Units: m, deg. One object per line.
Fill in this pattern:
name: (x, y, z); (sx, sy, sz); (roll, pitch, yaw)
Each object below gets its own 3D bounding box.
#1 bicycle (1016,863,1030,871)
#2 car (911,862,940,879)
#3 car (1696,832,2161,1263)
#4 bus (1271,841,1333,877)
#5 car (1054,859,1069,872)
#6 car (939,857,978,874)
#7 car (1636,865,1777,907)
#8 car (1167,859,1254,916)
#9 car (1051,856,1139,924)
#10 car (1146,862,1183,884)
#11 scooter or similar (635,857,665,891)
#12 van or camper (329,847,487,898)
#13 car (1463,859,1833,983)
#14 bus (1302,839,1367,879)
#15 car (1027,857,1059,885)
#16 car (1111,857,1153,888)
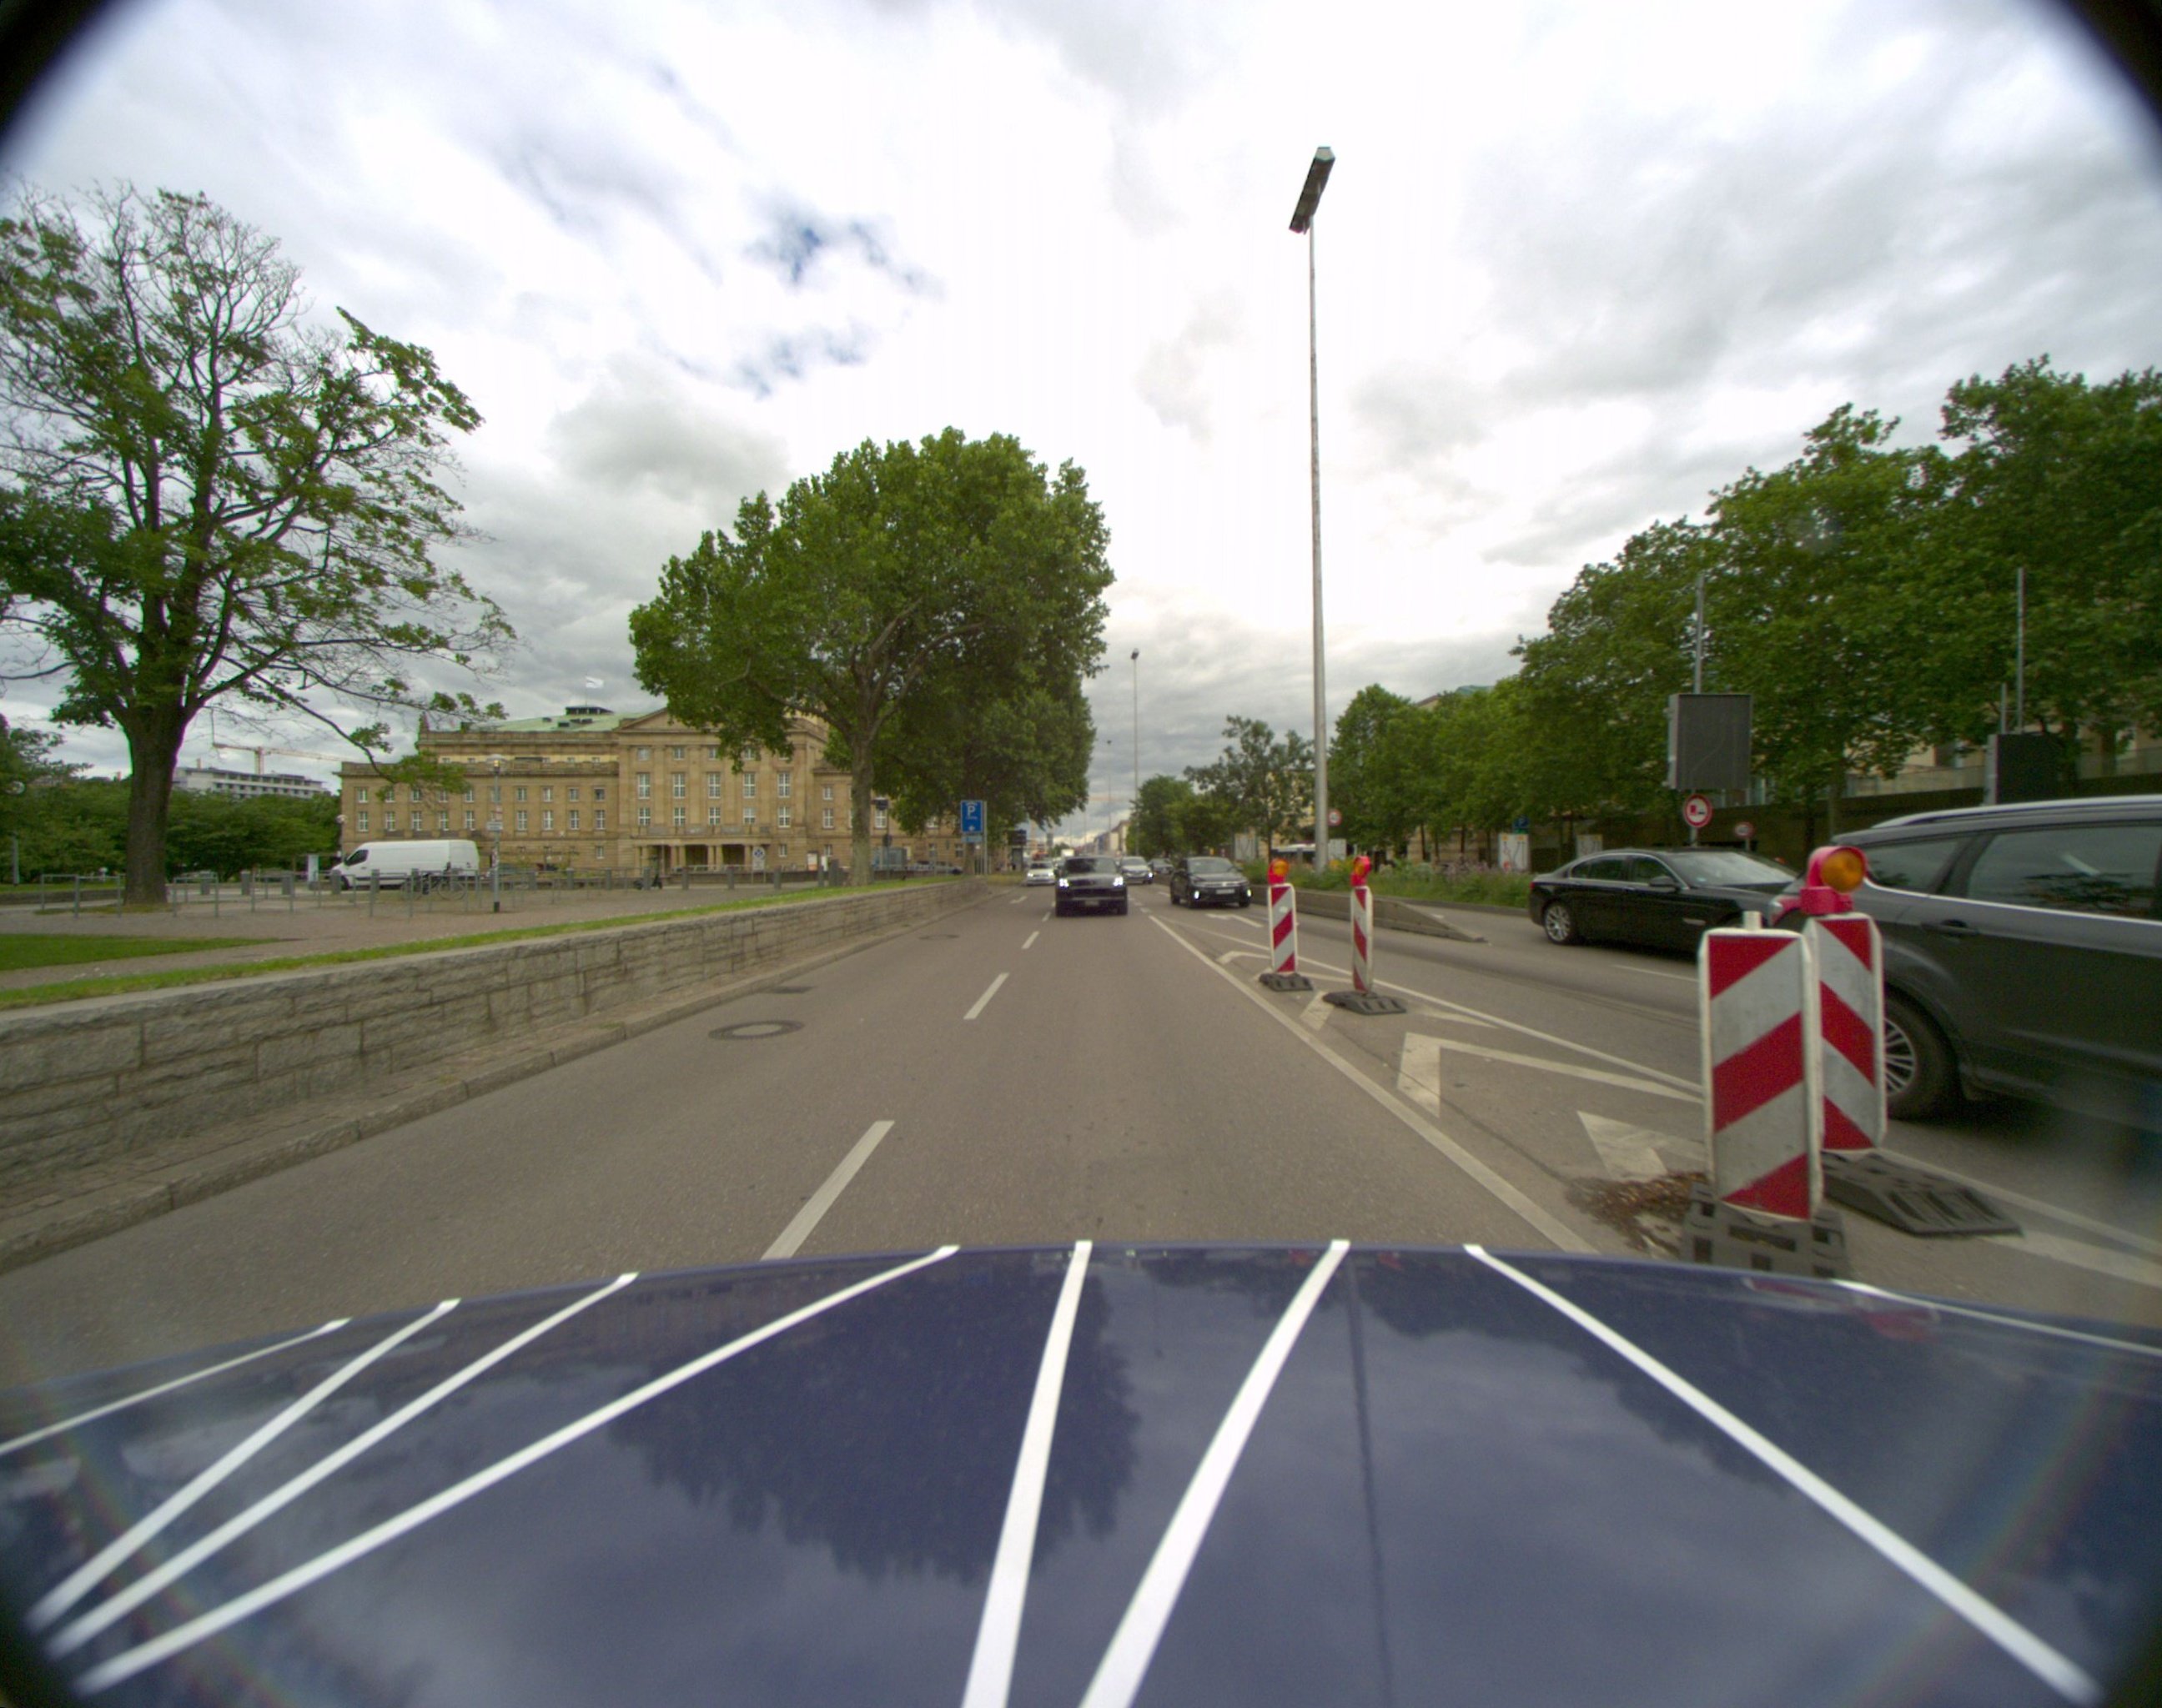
bicycle: (-7.817, 1.767, 103.079); (1.841, 1.066, 0.618); (-1, 0, -9)
car: (-14.420, 1.543, 70.699); (1.768, 1.508, 4.219); (-1, -2, 1)
car: (5.233, 0.740, 2.823); (1.899, 1.705, 4.657); (-2, -1, -3)
bus: (22.051, 0.482, 76.444); (2.920, 3.285, 10.447); (-1, 0, -2)
car: (-2.603, 1.513, 103.491); (1.733, 1.587, 4.000); (-3, 1, 1)
car: (-13.359, 1.242, 83.166); (3.999, 1.587, 1.734); (-3, 1, -6)
car: (22.037, 1.064, 26.991); (1.730, 1.364, 4.000); (0, -1, 0)
car: (3.876, 0.942, 23.469); (1.768, 1.507, 4.151); (-2, 0, -3)
car: (0.275, 0.949, 22.129); (2.062, 1.616, 4.599); (-4, 1, -4)
car: (6.076, 1.353, 55.987); (1.999, 1.474, 4.808); (-1, 0, -2)
scooter or similar: (-16.271, 0.732, 28.698); (0.718, 1.239, 0.728); (2, 1, -2)
van or camper: (-33.767, 0.891, 38.260); (5.712, 2.306, 2.319); (-2, 2, -1)
car: (8.174, 0.837, 11.727); (1.999, 1.474, 4.808); (-1, 0, -2)
bus: (22.308, 0.442, 67.369); (2.930, 3.284, 7.705); (-1, 0, -2)
car: (-2.441, 1.086, 49.478); (1.696, 1.584, 4.000); (-3, 1, 1)
car: (2.955, 1.050, 44.998); (1.999, 1.607, 4.737); (-1, 0, -1)
